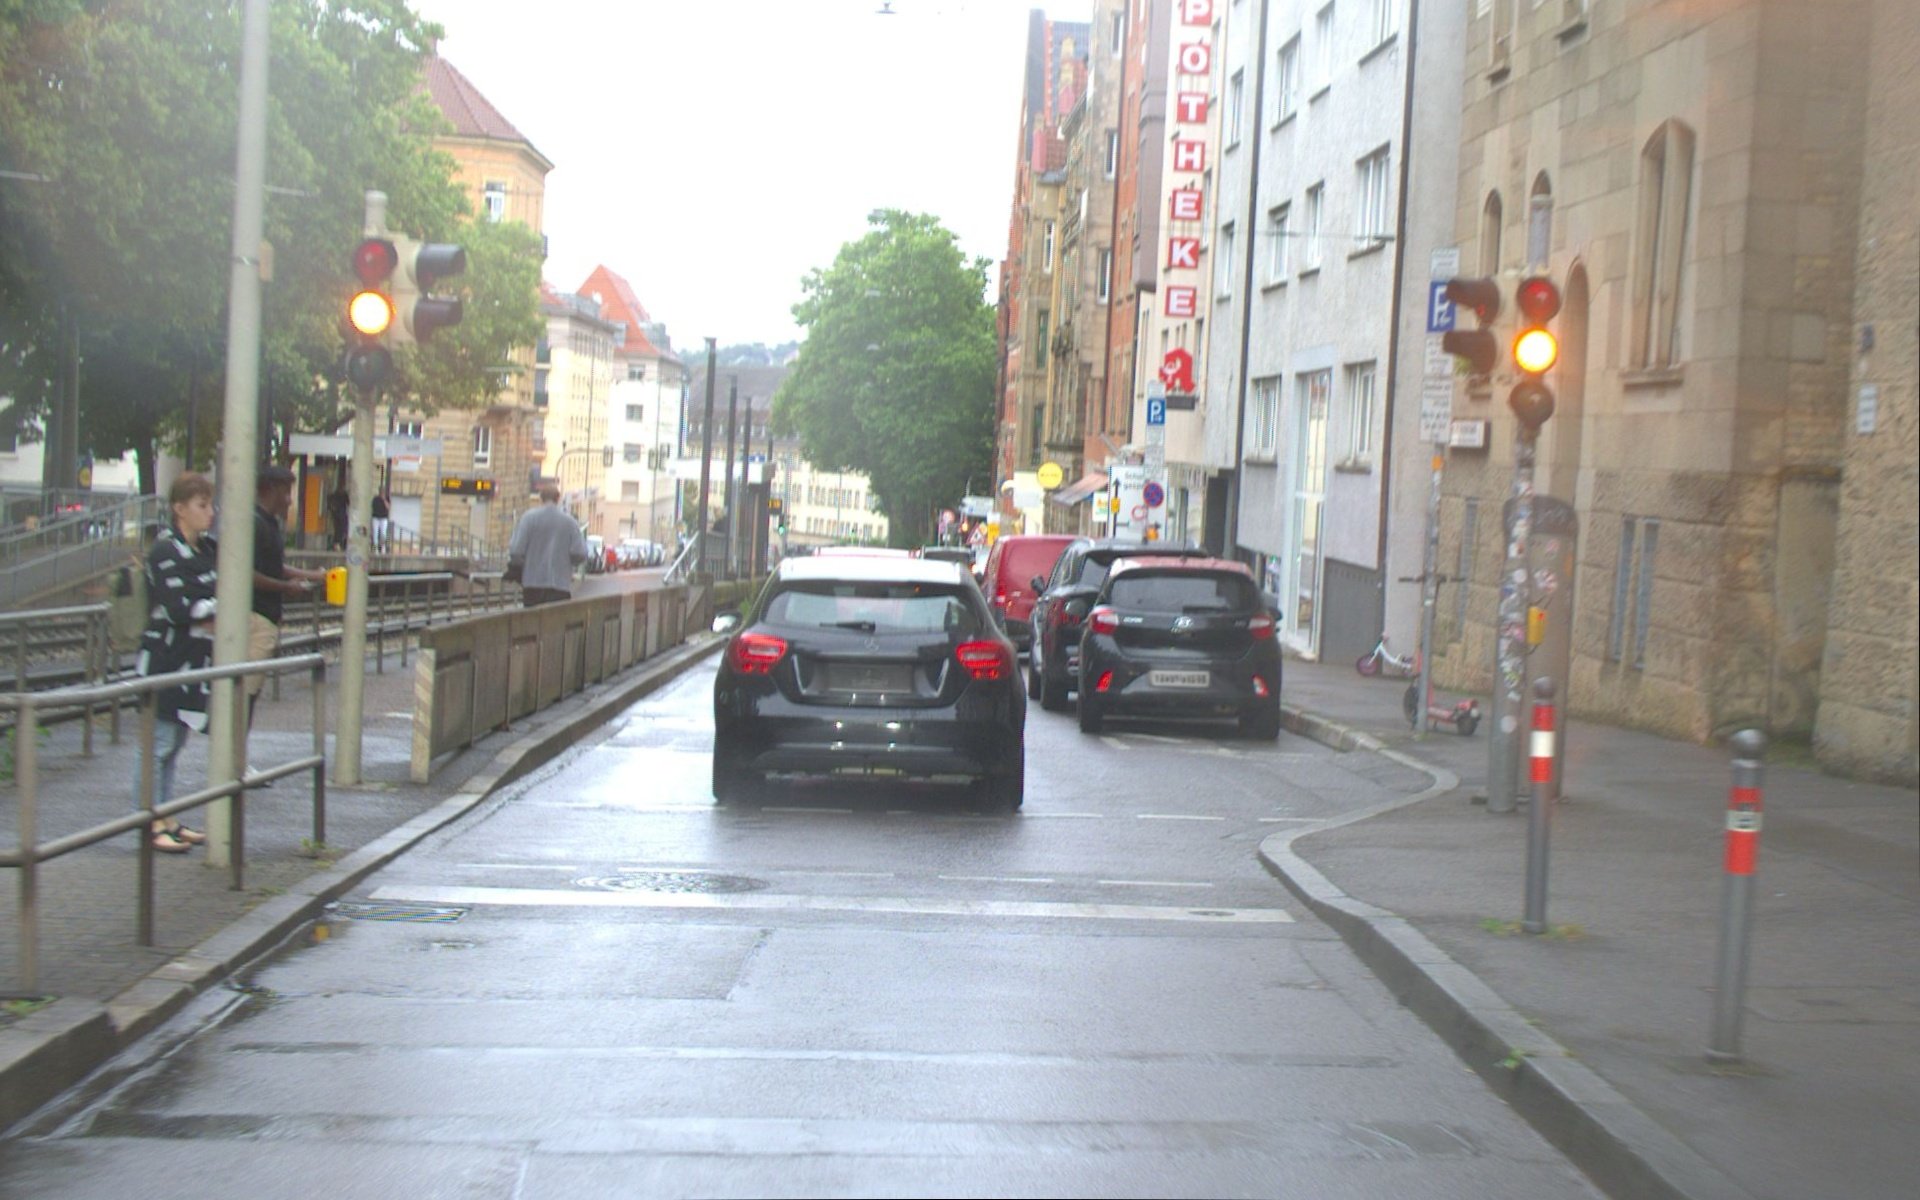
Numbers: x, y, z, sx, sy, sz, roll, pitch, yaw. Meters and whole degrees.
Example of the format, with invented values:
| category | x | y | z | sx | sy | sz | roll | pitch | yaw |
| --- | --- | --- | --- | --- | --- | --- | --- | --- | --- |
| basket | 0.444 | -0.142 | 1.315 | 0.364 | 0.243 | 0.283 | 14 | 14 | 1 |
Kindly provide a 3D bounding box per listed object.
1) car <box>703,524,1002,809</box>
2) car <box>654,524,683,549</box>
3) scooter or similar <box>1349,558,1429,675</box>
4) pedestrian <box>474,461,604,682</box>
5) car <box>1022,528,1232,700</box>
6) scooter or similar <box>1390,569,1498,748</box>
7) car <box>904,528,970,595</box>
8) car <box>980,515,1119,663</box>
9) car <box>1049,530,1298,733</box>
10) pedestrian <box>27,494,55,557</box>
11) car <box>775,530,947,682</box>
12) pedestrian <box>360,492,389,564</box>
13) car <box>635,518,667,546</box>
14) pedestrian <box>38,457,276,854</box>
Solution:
| category | x | y | z | sx | sy | sz | roll | pitch | yaw |
| --- | --- | --- | --- | --- | --- | --- | --- | --- | --- |
| car | -0.647 | 0.325 | 20.521 | 1.580 | 1.499 | 3.575 | 2 | 1 | -2 |
| car | -20.820 | -4.544 | 245.834 | 1.730 | 1.681 | 3.883 | 1 | 0 | -1 |
| scooter or similar | 5.051 | 0.183 | 40.546 | 0.448 | 1.316 | 1.778 | 0 | 1 | -9 |
| pedestrian | -3.870 | -0.270 | 31.678 | 1.137 | 1.991 | 1.173 | 1 | 1 | -5 |
| car | 1.599 | 0.090 | 34.113 | 1.759 | 1.573 | 4.001 | 1 | 1 | -2 |
| scooter or similar | 3.759 | 0.433 | 26.784 | 0.448 | 1.316 | 1.778 | 1 | 1 | -4 |
| car | -0.721 | -1.227 | 107.101 | 1.993 | 2.007 | 4.000 | 1 | 1 | -1 |
| car | 1.246 | -0.203 | 49.337 | 1.759 | 2.007 | 4.001 | 1 | 1 | -2 |
| car | 1.792 | 0.217 | 29.991 | 1.827 | 1.612 | 3.864 | 1 | 1 | -1 |
| pedestrian | -23.344 | -1.889 | 87.359 | 0.519 | 1.590 | 0.600 | 2 | 1 | -1 |
| car | -1.116 | 0.027 | 38.955 | 1.785 | 1.575 | 4.000 | 2 | 1 | -1 |
| pedestrian | -14.230 | -1.759 | 83.597 | 0.518 | 1.711 | 0.551 | 4 | 1 | -1 |
| car | -19.595 | -4.289 | 218.103 | 1.730 | 1.703 | 3.883 | 1 | 0 | -1 |
| pedestrian | -3.396 | 0.217 | 14.600 | 0.806 | 1.628 | 0.892 | 1 | 1 | -1 |
